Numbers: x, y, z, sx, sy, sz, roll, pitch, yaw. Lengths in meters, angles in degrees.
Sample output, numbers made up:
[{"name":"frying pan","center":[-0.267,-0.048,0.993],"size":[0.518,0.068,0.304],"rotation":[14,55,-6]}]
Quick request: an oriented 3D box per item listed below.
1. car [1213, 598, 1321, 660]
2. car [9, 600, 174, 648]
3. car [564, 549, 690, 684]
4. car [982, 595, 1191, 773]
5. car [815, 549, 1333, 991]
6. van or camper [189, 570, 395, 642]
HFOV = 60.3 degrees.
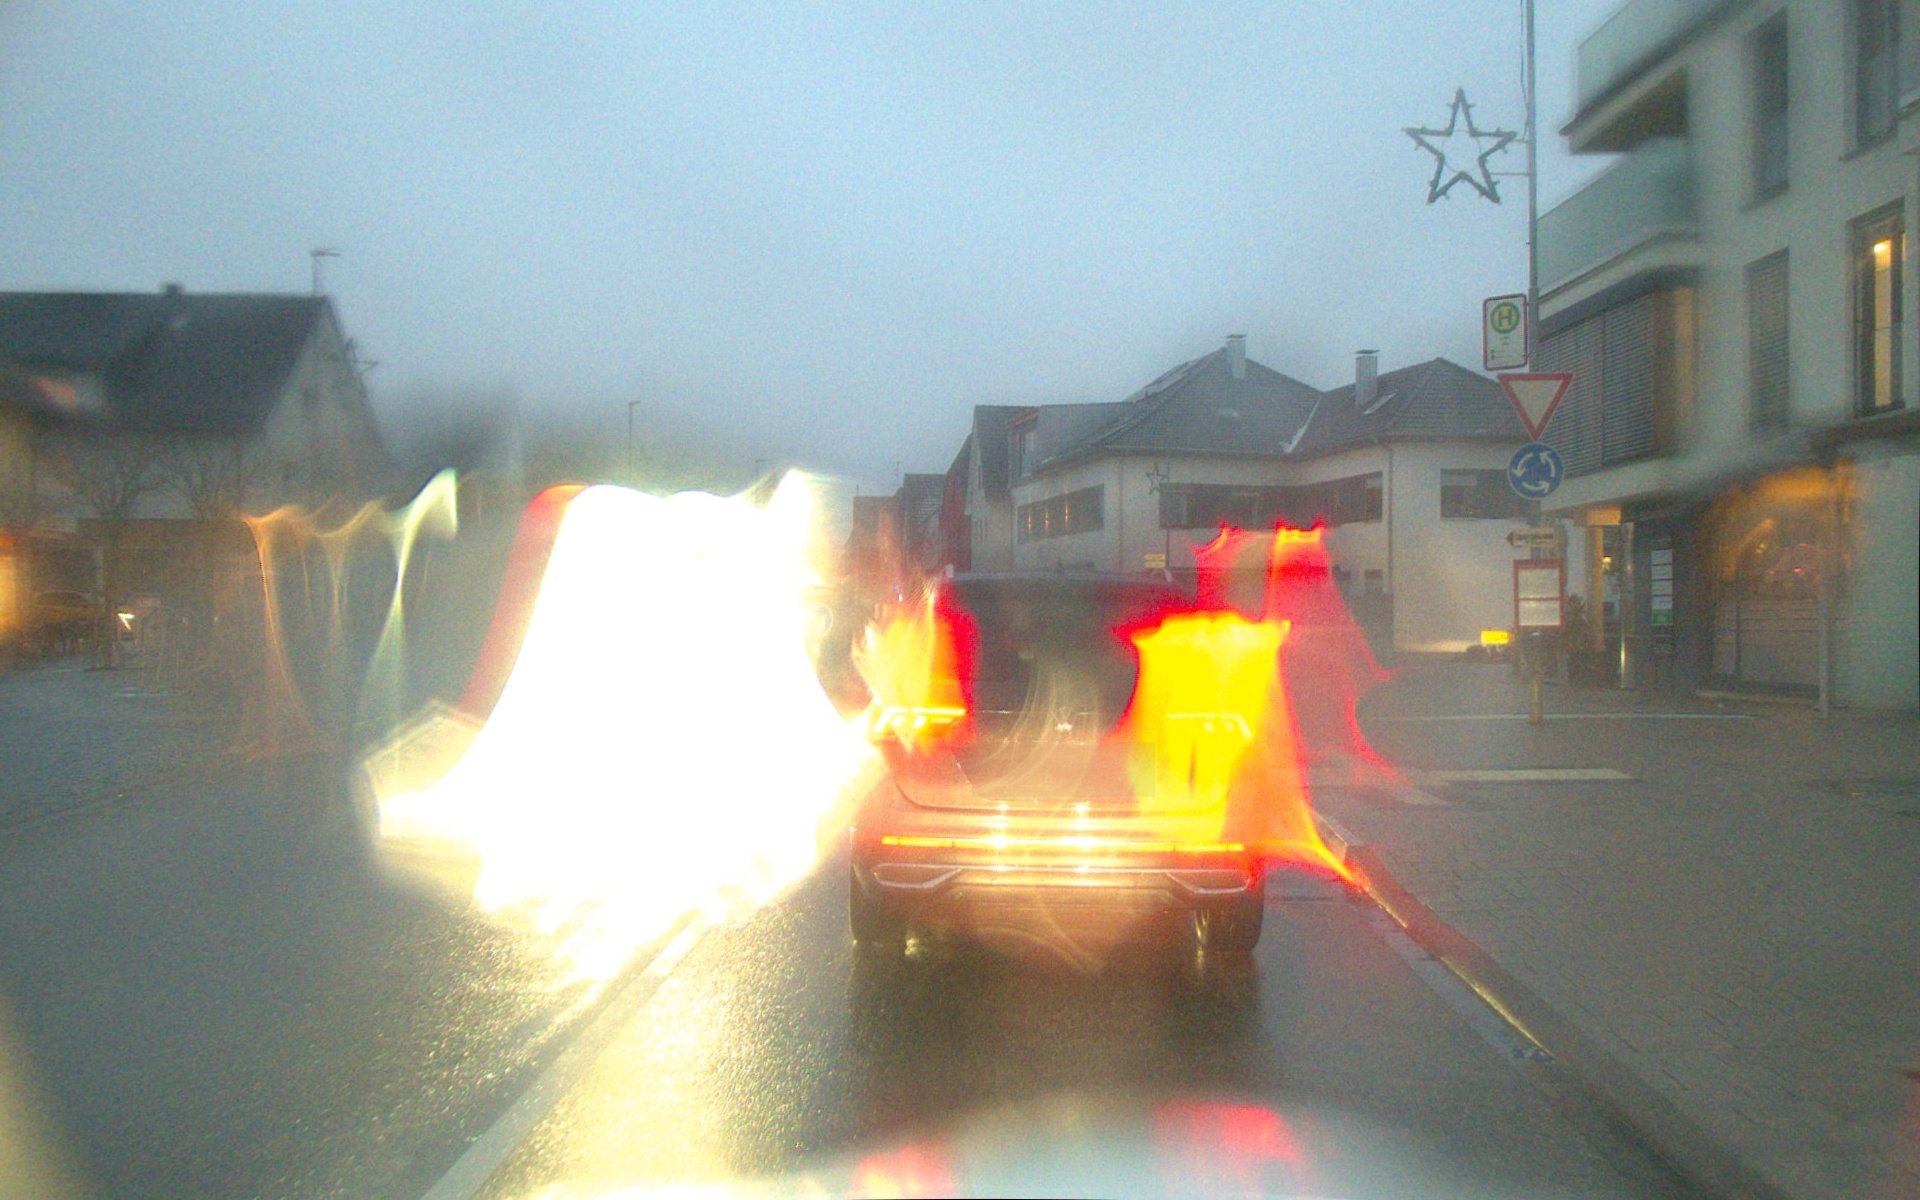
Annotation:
[{"name":"car","center":[7.480,0.715,39.967],"size":[1.952,1.416,4.000],"rotation":[0,-1,20]},{"name":"car","center":[-25.459,0.690,48.584],"size":[3.909,1.388,1.725],"rotation":[0,0,-5]},{"name":"car","center":[-6.060,0.308,30.553],"size":[1.956,2.242,4.408],"rotation":[2,-1,-9]},{"name":"car","center":[1.113,0.716,16.189],"size":[1.648,1.478,3.999],"rotation":[1,0,-1]},{"name":"car","center":[0.406,0.634,8.420],"size":[1.924,1.622,4.312],"rotation":[2,0,-1]},{"name":"van or camper","center":[-19.072,0.147,47.240],"size":[5.414,1.989,2.001],"rotation":[0,0,18]}]
